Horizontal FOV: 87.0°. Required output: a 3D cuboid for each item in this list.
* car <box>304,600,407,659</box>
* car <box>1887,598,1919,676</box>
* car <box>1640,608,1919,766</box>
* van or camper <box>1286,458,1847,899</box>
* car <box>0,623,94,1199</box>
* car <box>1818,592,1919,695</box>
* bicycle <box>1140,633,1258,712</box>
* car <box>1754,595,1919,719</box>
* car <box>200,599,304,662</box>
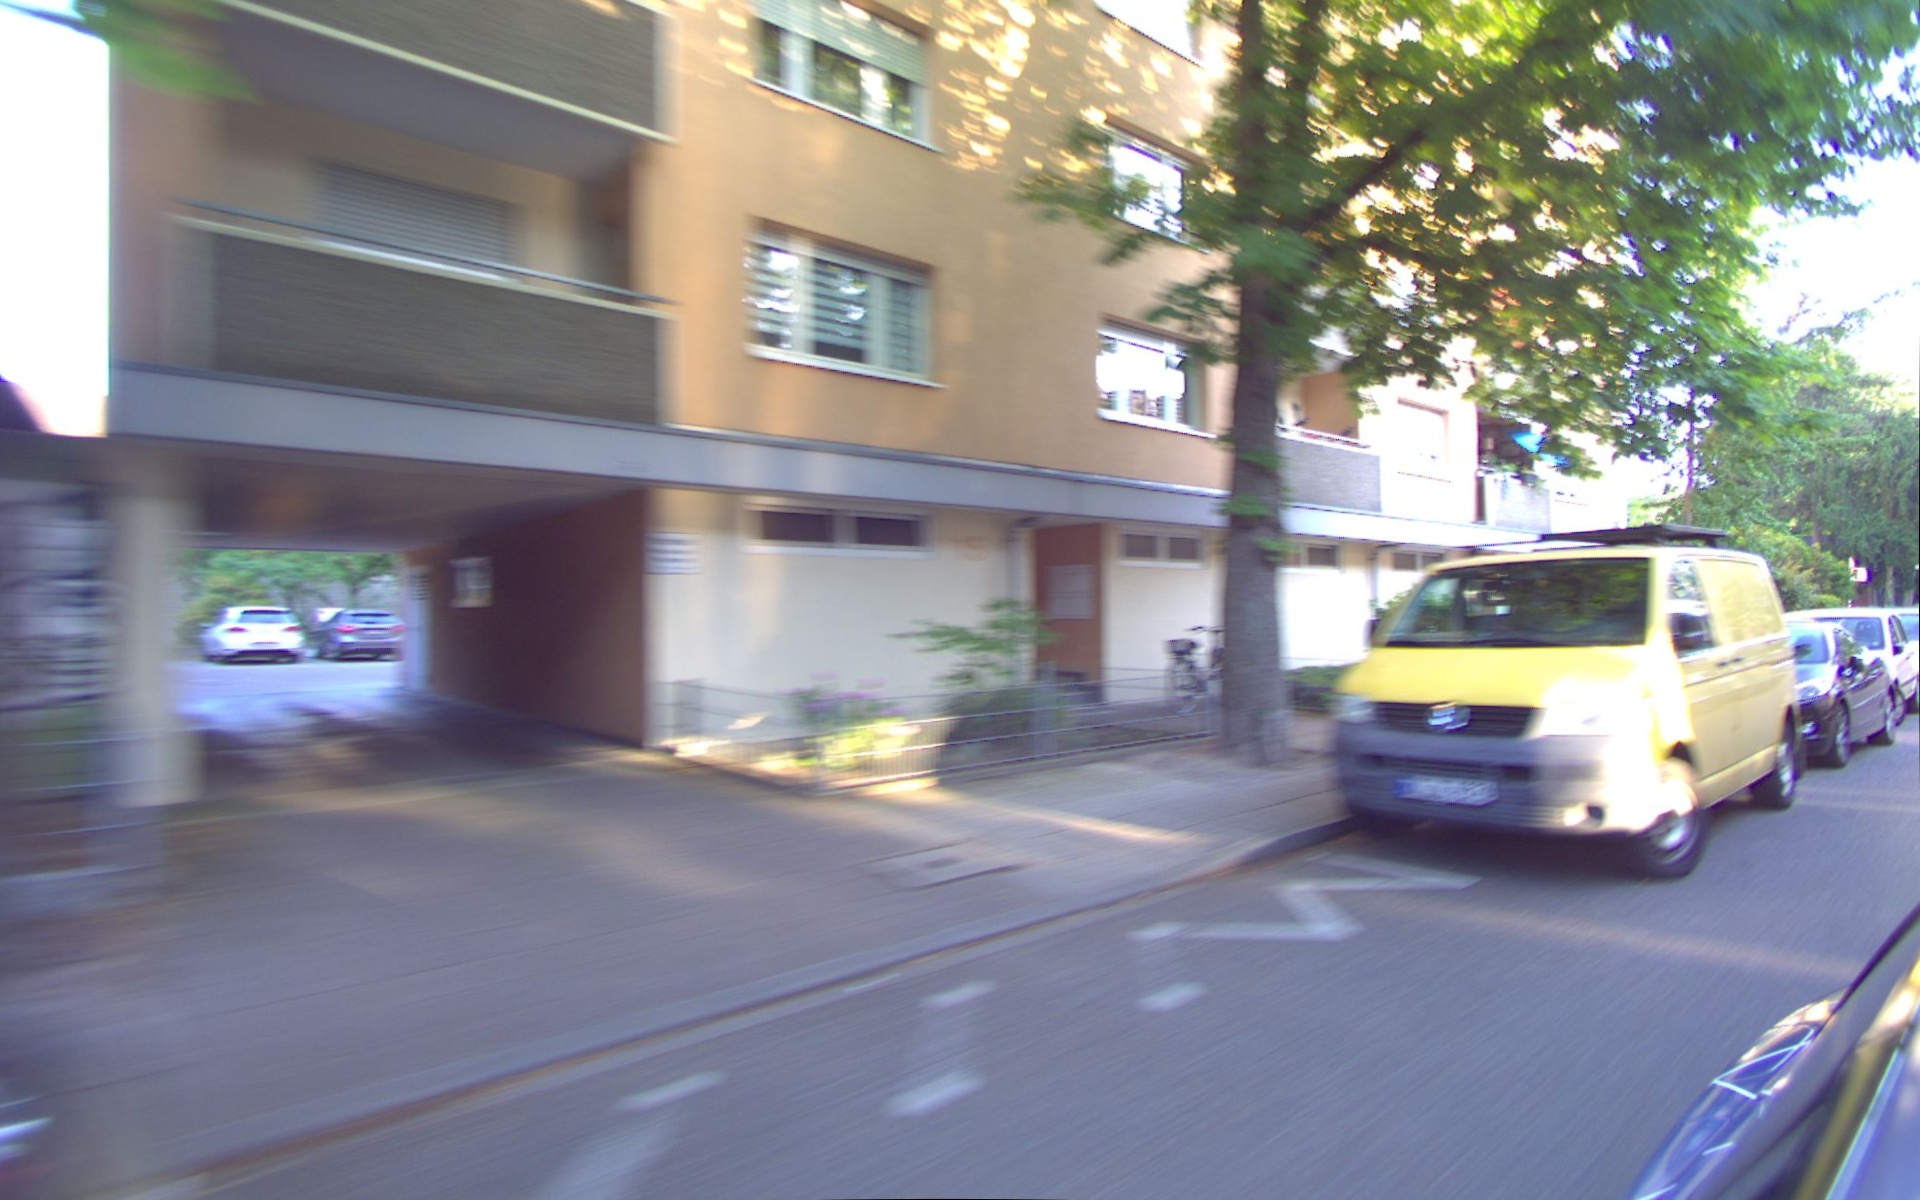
[{"bbox_3d":[-17.232,0.802,28.772,1.964,1.538,3.995,1,-1,-39],"label":"car"},{"bbox_3d":[20.091,0.714,20.378,3.982,1.480,1.612,0,-1,-41],"label":"car"},{"bbox_3d":[8.911,0.798,10.828,3.927,1.399,1.610,1,-1,-39],"label":"car"},{"bbox_3d":[4.627,0.415,7.326,5.002,2.123,2.067,1,-2,-41],"label":"van or camper"},{"bbox_3d":[-2.906,0.763,0.752,3.392,1.469,1.565,1,-1,-41],"label":"car"},{"bbox_3d":[16.131,0.684,17.150,4.119,1.583,1.795,0,-1,-41],"label":"car"},{"bbox_3d":[3.100,0.903,13.017,1.802,0.933,0.524,1,-2,-41],"label":"bicycle"},{"bbox_3d":[12.583,0.717,14.201,3.416,1.530,1.612,0,-1,-40],"label":"car"},{"bbox_3d":[-18.872,0.769,26.894,1.964,1.538,3.995,1,-1,-39],"label":"car"}]
